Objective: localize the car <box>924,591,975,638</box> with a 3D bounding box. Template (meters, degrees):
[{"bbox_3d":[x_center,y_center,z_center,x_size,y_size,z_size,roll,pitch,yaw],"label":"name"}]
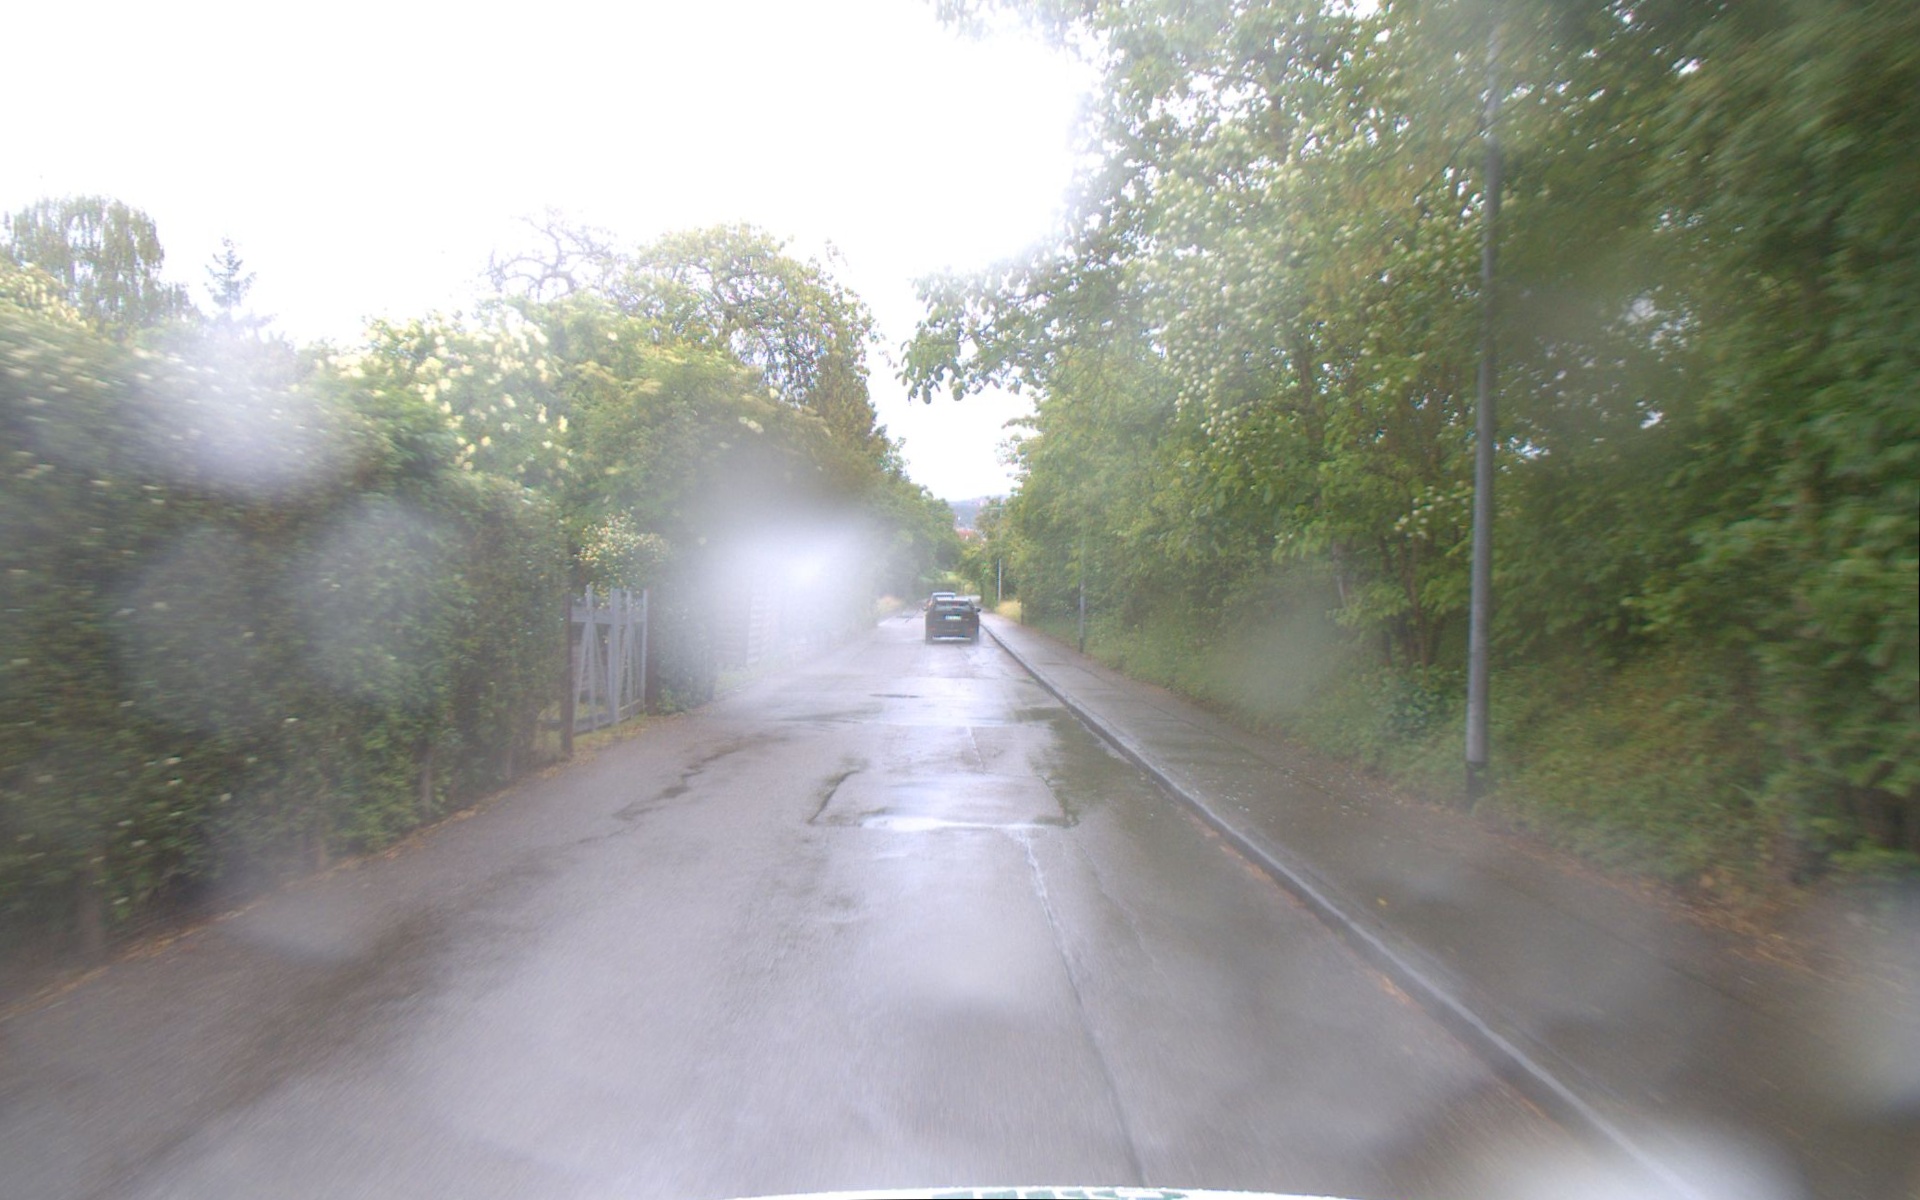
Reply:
[{"bbox_3d":[-0.316,0.485,53.938,1.601,1.476,3.544,0,-1,1],"label":"car"}]
